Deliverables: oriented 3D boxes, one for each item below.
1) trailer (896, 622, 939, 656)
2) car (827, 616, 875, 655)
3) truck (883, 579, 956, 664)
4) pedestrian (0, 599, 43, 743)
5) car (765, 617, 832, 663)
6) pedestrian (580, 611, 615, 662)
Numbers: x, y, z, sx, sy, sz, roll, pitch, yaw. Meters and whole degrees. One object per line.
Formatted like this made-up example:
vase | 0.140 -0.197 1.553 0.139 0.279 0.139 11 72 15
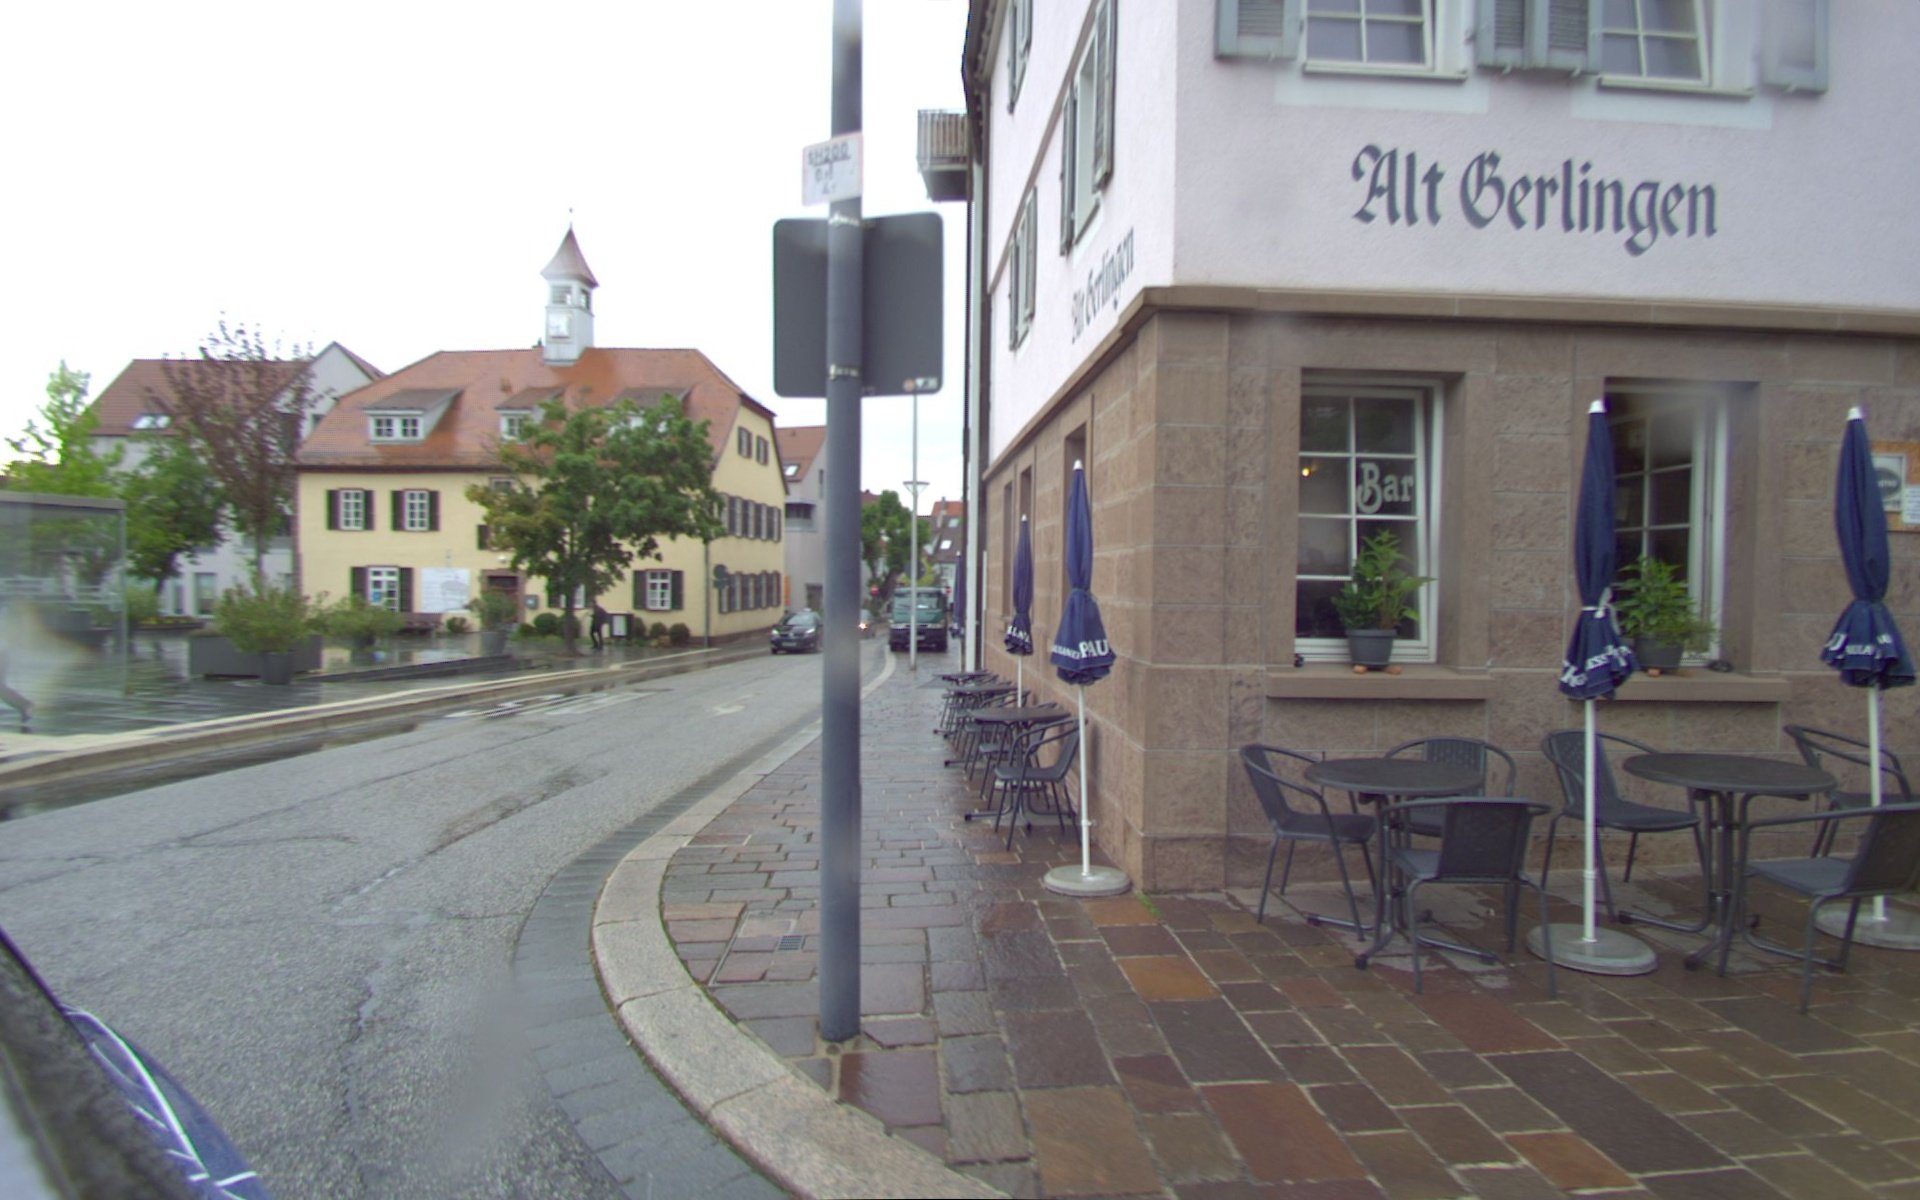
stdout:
trailer | -1.817 1.616 42.510 1.708 1.357 3.162 1 -2 -3
car | -5.467 1.767 51.371 1.972 1.918 3.999 0 -1 1
truck | -1.547 0.820 37.653 2.445 2.816 6.603 1 -2 -3
pedestrian | -11.194 0.801 11.594 0.721 1.629 0.693 1 0 5
car | -5.790 1.422 36.653 1.714 1.567 3.842 0 -1 2
pedestrian | -12.321 1.223 34.401 0.716 1.706 0.855 -1 -2 42
